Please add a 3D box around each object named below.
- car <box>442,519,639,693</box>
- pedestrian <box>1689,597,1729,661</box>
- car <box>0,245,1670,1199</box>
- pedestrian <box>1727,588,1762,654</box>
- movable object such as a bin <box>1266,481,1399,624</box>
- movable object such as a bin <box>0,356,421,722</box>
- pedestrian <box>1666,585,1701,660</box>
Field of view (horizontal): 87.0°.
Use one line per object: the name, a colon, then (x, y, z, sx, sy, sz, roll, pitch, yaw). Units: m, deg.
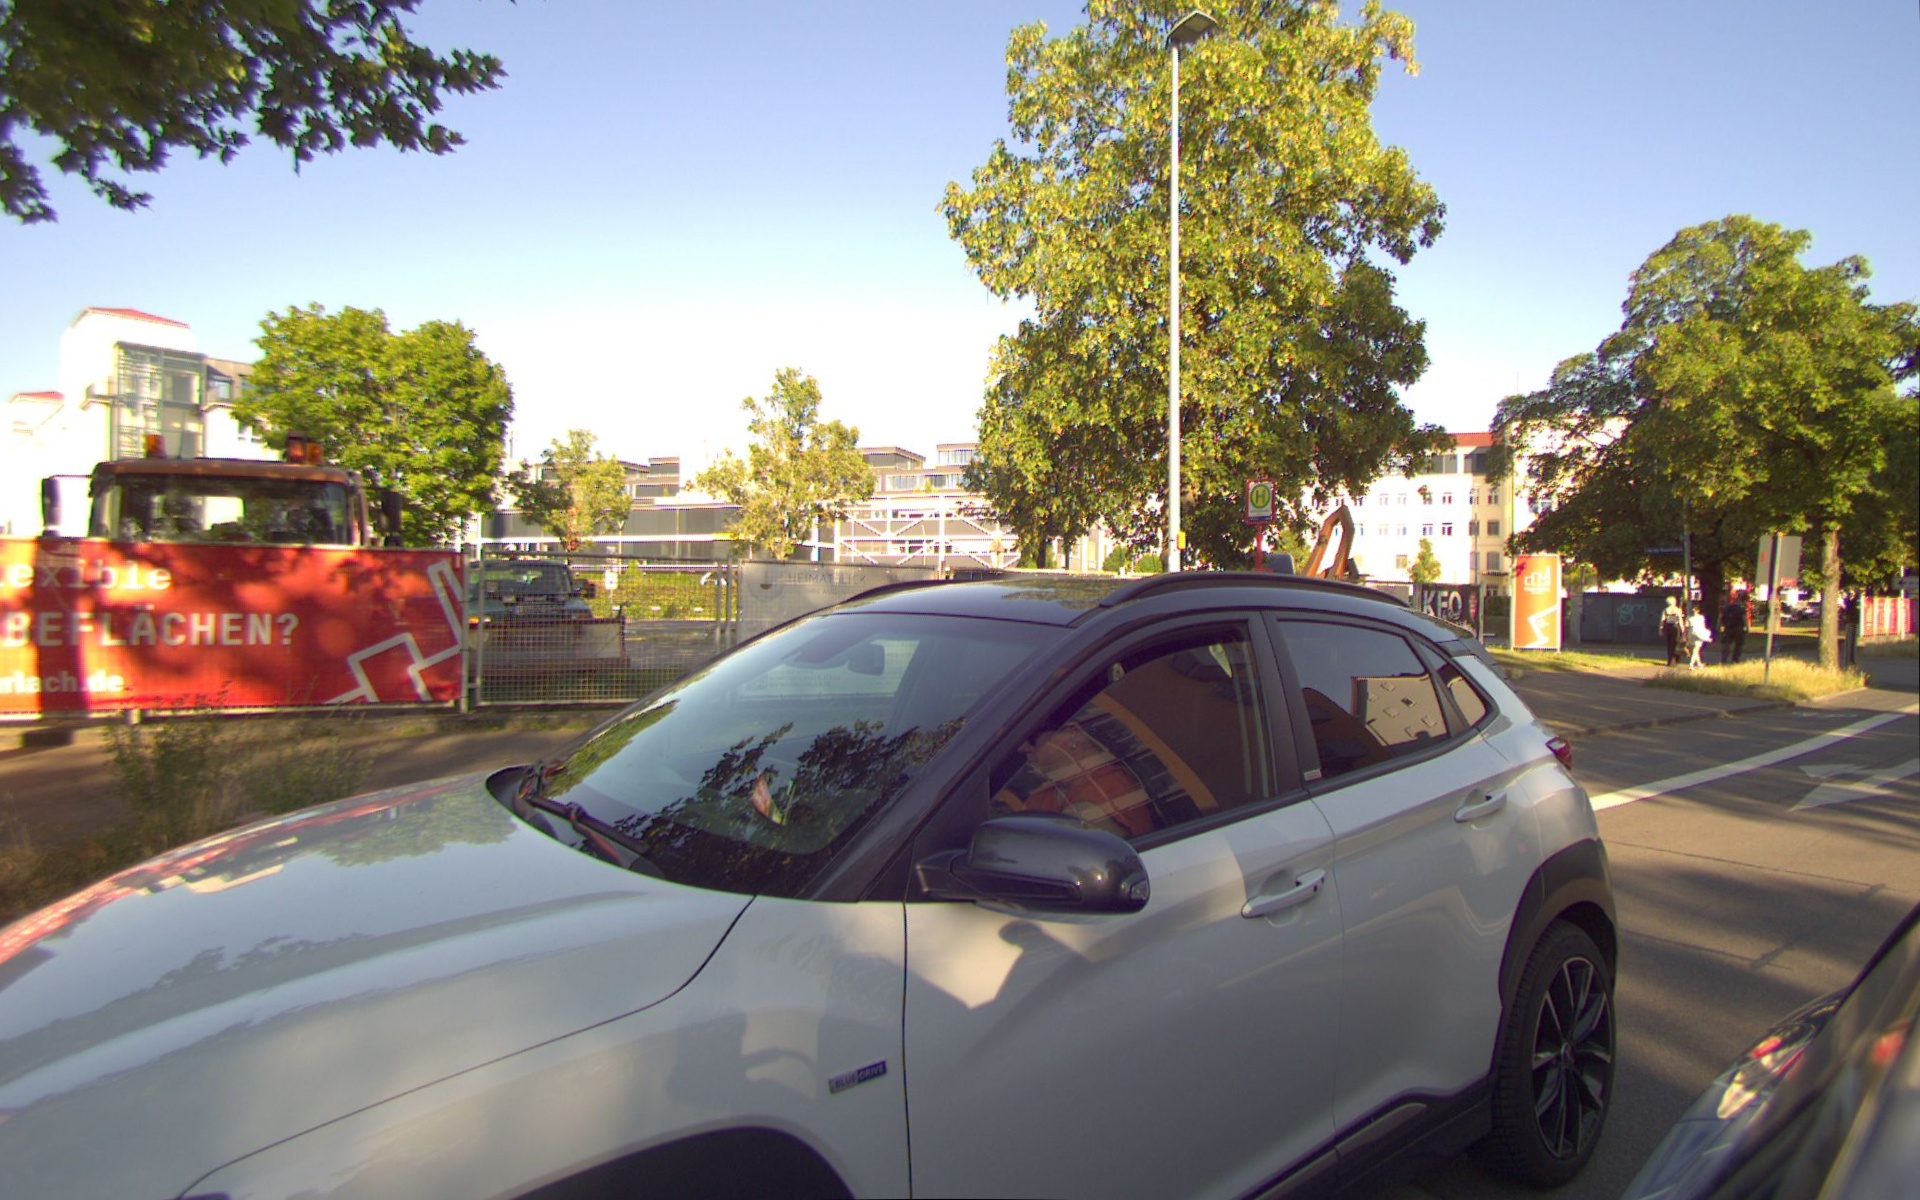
car: (-5.665, 0.044, 13.295, 2.001, 1.851, 4.612, 0, 0, -28)
pedestrian: (17.424, 0.654, 23.535, 0.627, 1.452, 0.609, 0, 0, -40)
car: (-0.010, 0.610, 2.485, 3.893, 1.618, 1.894, 3, -2, -39)
pedestrian: (20.400, 0.534, 26.322, 0.692, 1.689, 0.630, 0, 0, 38)
movable object such as a bin: (15.526, -1.882, 42.762, 3.910, 5.547, 6.022, 0, 0, 6)
movable object such as a bin: (-8.388, -0.548, 12.056, 3.154, 3.087, 6.295, 0, 0, -31)
pedestrian: (17.405, 0.532, 24.350, 0.607, 1.759, 0.629, 0, 0, 44)
